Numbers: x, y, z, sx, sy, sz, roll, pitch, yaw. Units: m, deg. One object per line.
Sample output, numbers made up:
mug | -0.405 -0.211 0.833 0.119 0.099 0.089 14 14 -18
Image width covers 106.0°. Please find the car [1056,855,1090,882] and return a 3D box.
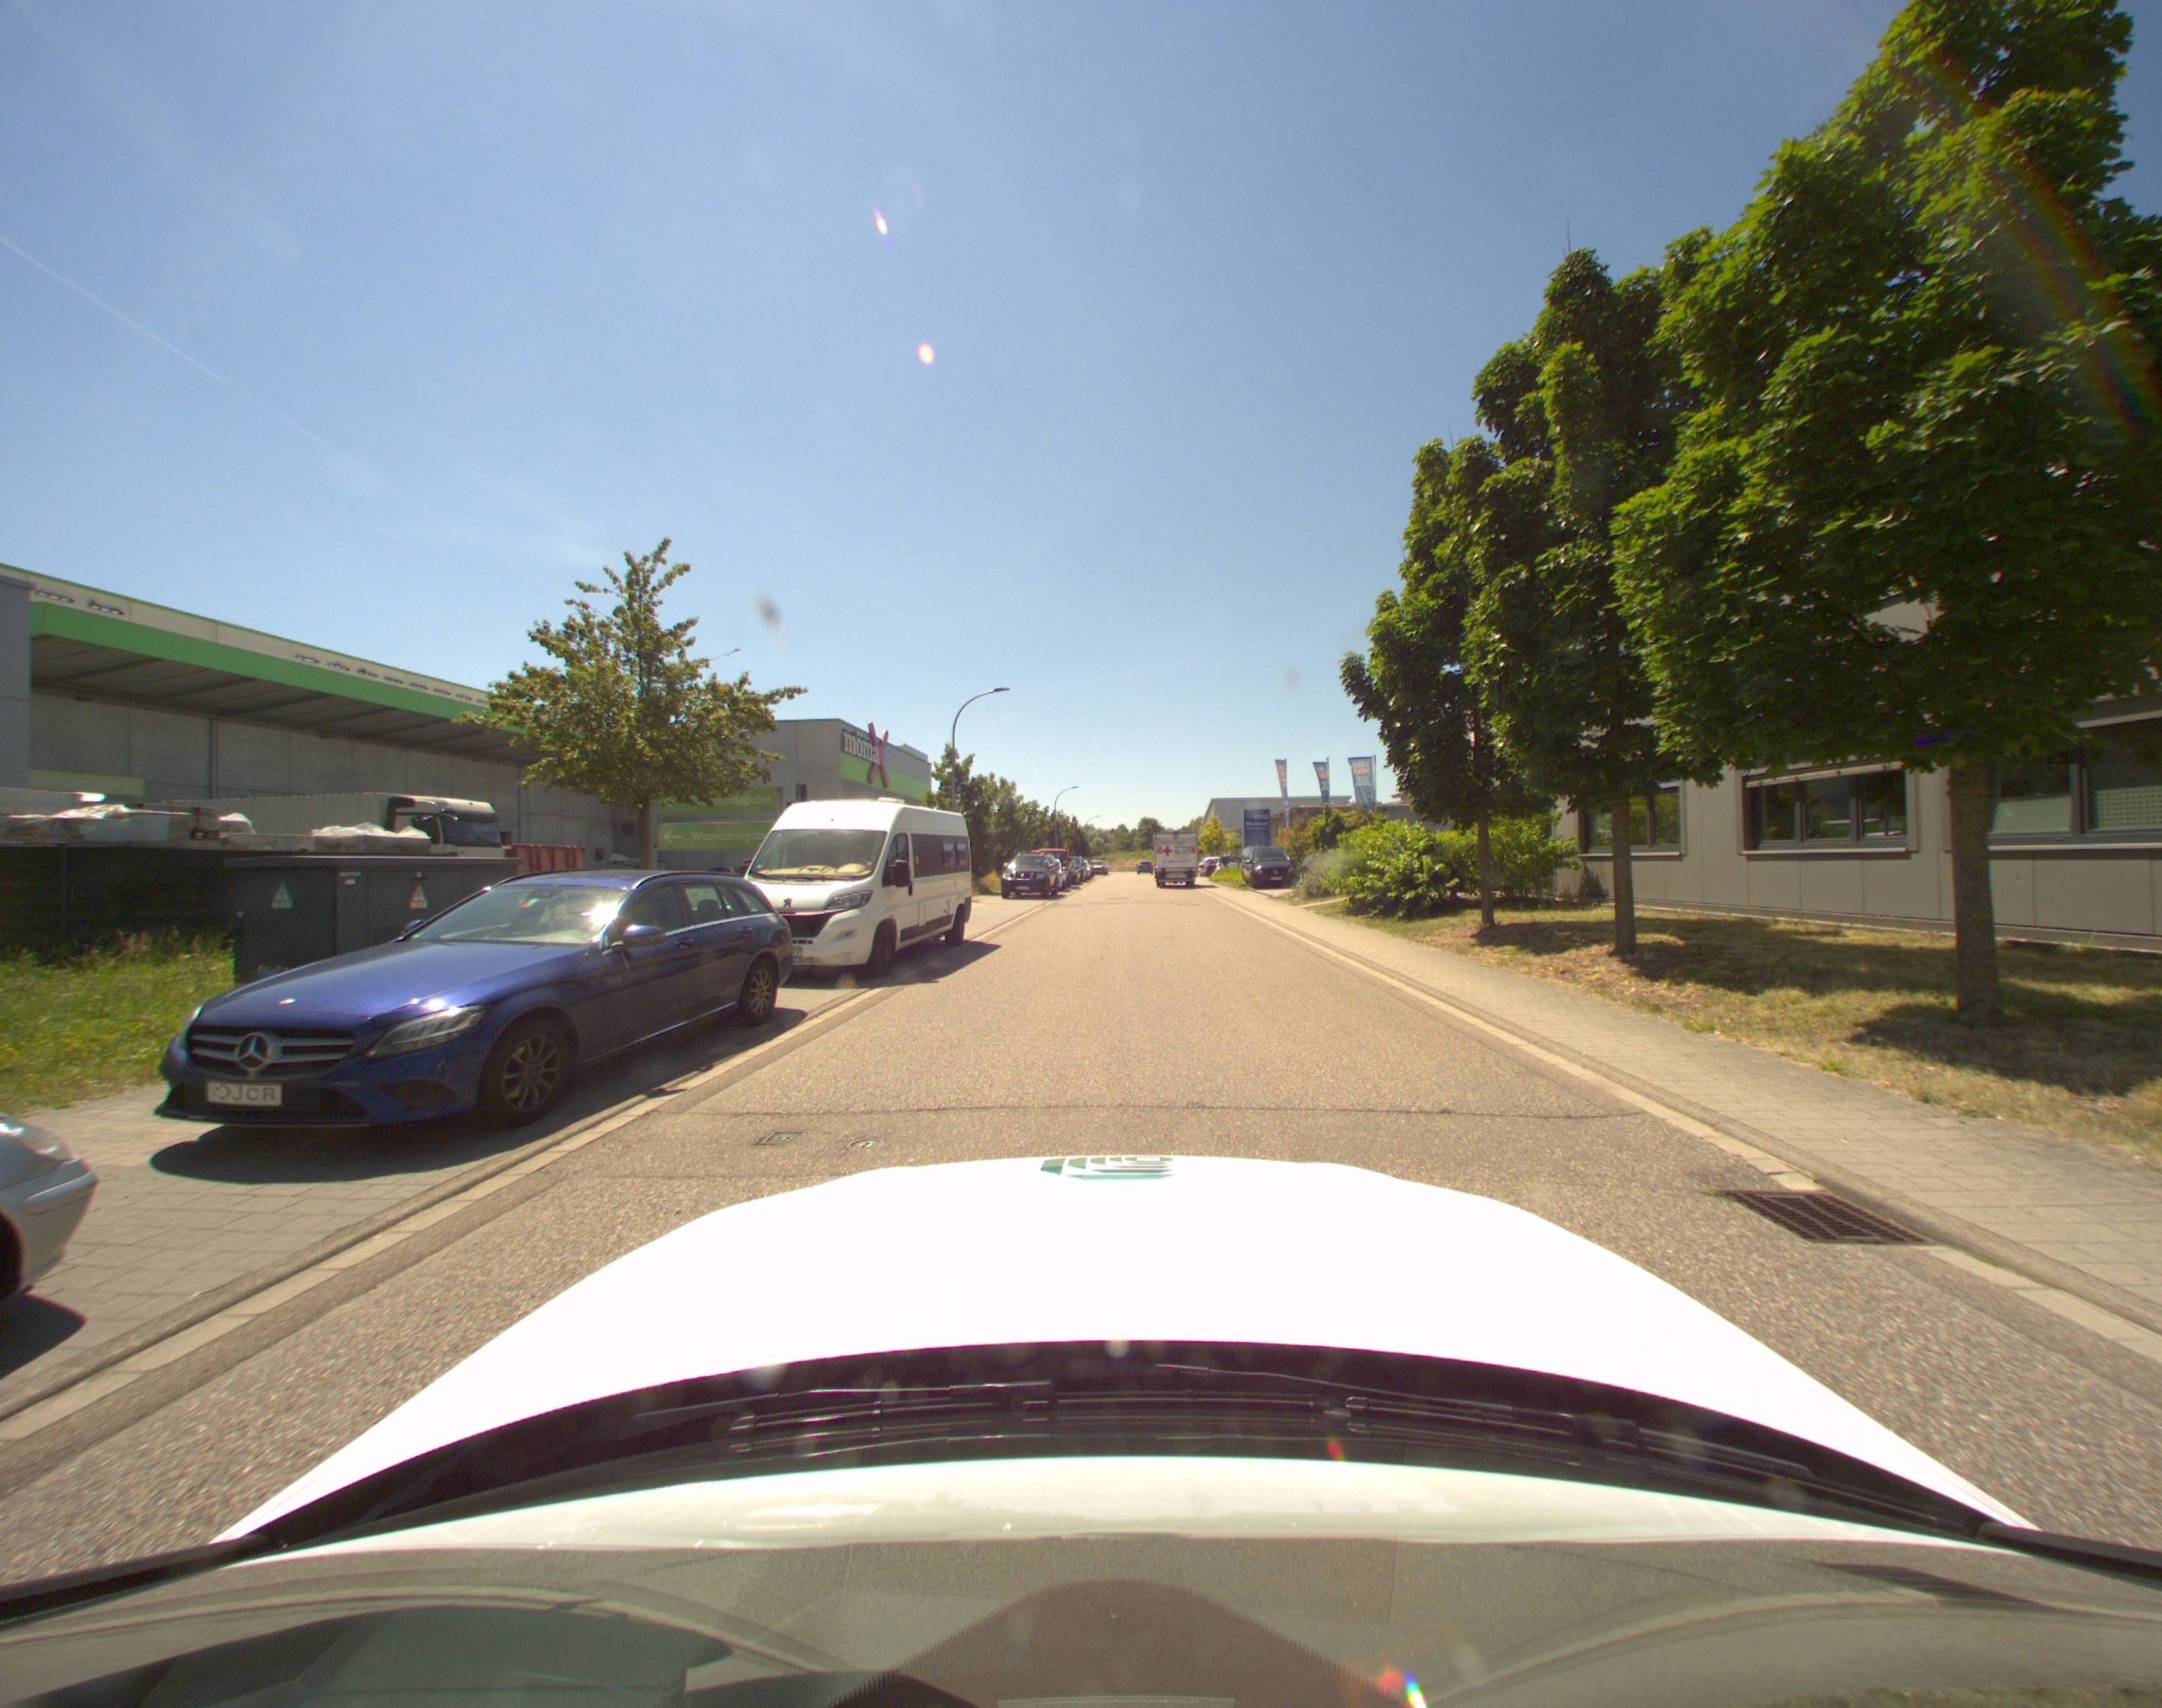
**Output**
car | -0.509 0.986 56.177 1.843 1.759 4.992 0 0 4

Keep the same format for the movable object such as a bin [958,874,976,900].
movable object such as a bin | -4.198 1.211 29.977 0.545 0.950 0.683 -1 -1 2

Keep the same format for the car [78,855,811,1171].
car | -3.965 0.799 6.374 1.822 1.541 4.631 0 0 5

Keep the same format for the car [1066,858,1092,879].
car | -0.109 1.061 61.943 1.845 1.519 4.905 0 0 1

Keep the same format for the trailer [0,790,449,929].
trailer | -30.361 0.271 27.933 15.253 4.088 3.222 -2 -1 3

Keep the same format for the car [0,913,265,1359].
car | -4.267 0.884 1.309 1.635 1.311 4.006 0 0 6

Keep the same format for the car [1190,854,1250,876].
car | 10.515 0.837 61.861 4.259 1.541 1.915 -2 -1 5

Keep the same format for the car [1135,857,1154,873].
car | 7.370 1.289 94.618 1.906 1.713 4.032 -1 -1 1

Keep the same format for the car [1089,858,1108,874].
car | 1.939 1.335 90.392 1.904 1.713 4.416 -1 -1 3

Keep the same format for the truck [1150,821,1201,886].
truck | 5.050 -0.015 44.204 2.445 3.205 6.892 1 0 5

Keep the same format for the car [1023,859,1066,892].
car | -1.742 1.024 40.356 1.844 1.551 3.768 0 0 2

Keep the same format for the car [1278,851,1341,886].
car | 10.828 0.679 38.923 1.984 1.536 4.595 -1 -1 4

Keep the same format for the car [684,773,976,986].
car | -3.486 0.326 13.029 2.312 2.599 6.092 0 0 5

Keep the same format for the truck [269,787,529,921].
truck | -22.812 0.019 27.487 6.078 4.088 3.222 -2 -1 4

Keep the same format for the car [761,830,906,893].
car | -11.508 0.365 38.220 5.949 2.824 2.523 0 -1 2

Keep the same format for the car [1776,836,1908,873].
car | 30.889 0.036 33.123 3.895 1.417 1.720 0 -1 -4

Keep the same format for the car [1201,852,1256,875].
car | 10.702 0.687 59.281 3.675 1.541 1.915 -2 -1 5

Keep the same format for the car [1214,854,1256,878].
car | 10.711 0.830 56.675 2.693 1.541 1.414 -2 -1 5

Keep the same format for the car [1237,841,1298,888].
car | 8.635 0.482 38.157 1.984 2.014 5.343 -1 -1 4

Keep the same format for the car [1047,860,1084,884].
car | -0.917 1.076 50.130 1.843 1.443 4.758 0 0 4

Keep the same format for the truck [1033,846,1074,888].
truck | -1.477 0.695 45.051 1.844 2.223 4.649 0 0 3

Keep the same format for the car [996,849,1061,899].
car | -2.050 0.775 33.500 1.965 1.901 5.407 0 0 4
